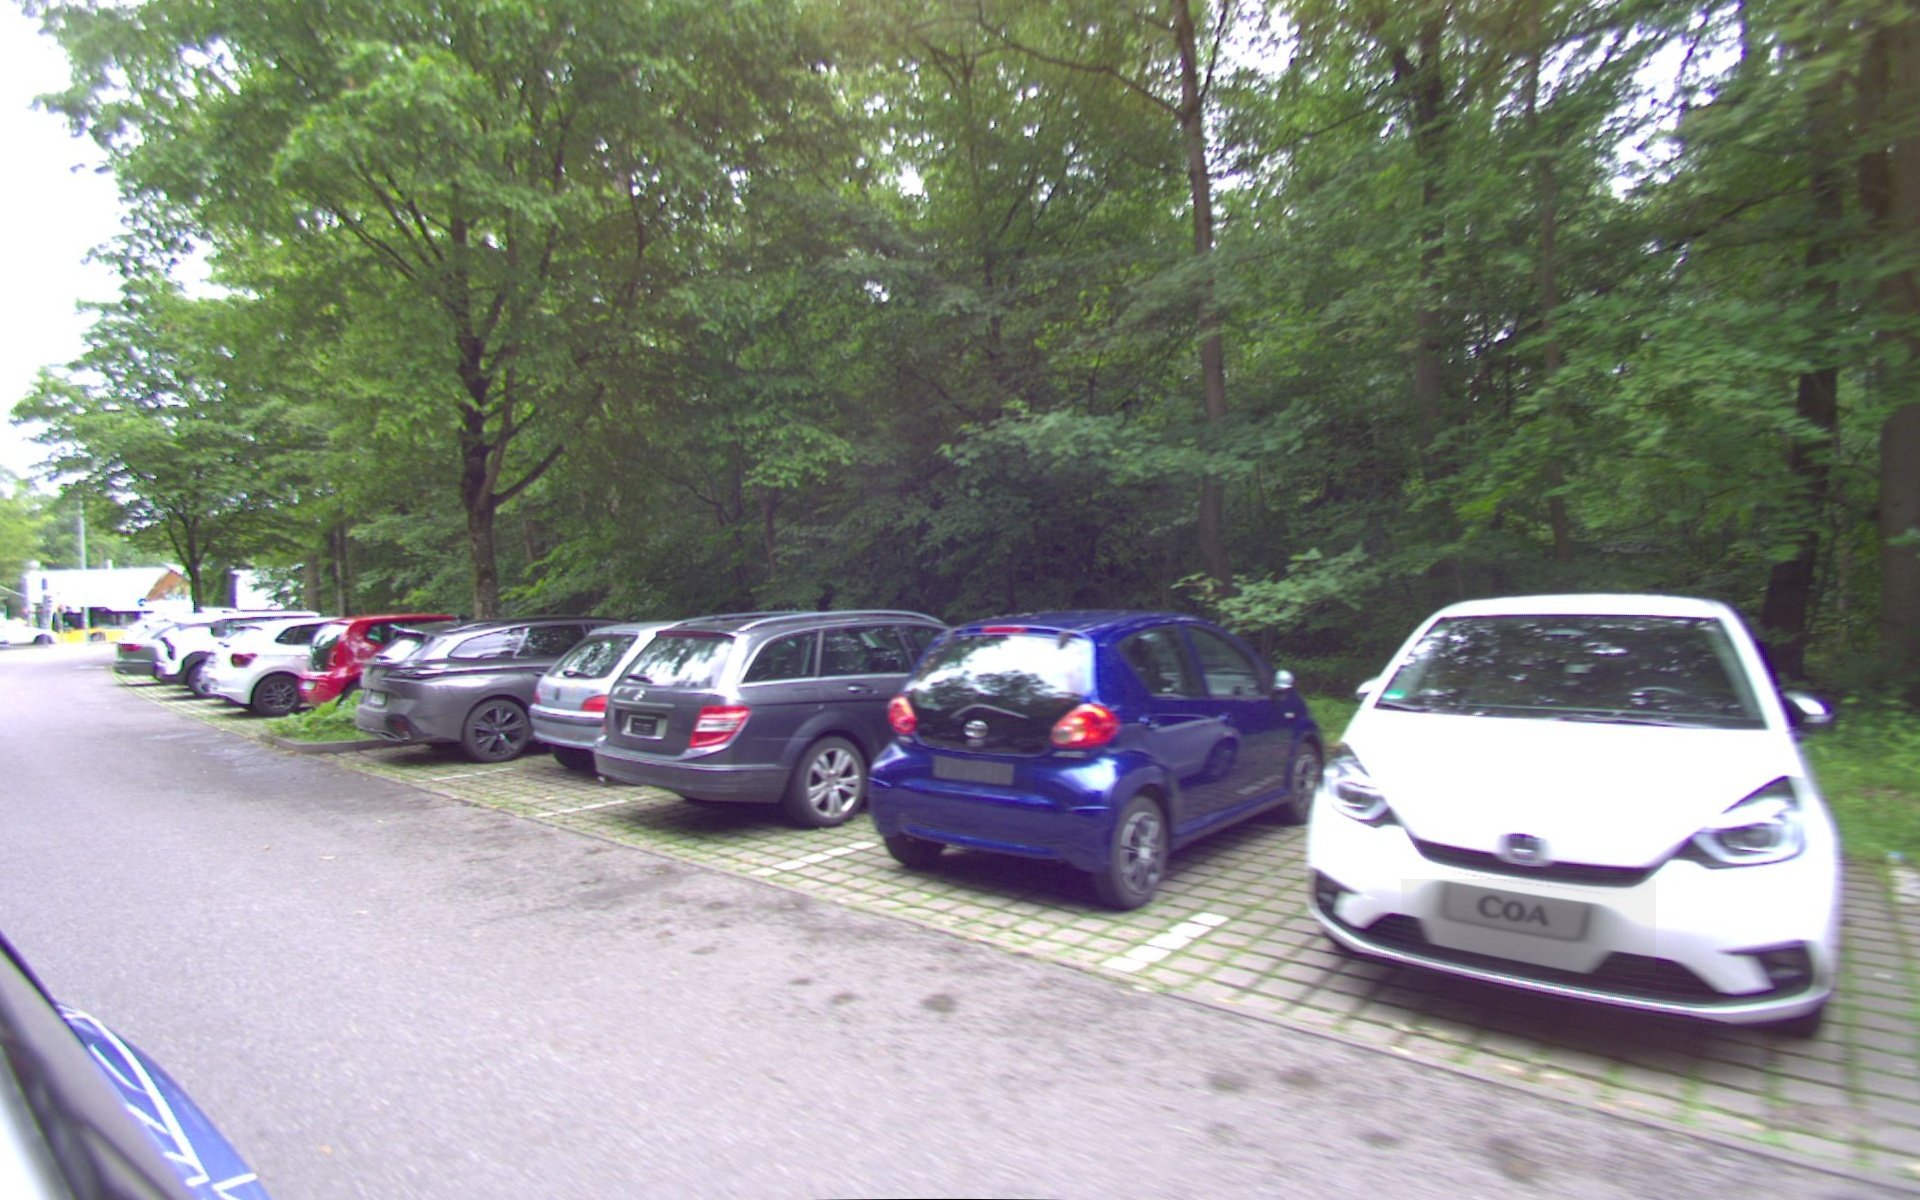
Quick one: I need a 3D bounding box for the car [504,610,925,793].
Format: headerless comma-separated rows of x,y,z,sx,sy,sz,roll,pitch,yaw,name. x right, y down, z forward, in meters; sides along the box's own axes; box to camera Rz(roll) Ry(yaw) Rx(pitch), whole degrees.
-2.306,0.844,10.097,1.757,1.397,3.714,-1,0,44,car

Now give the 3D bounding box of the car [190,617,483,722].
-9.930,1.023,16.272,1.873,1.430,3.684,-2,-1,45,car

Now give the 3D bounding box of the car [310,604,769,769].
-4.571,0.806,11.482,2.036,1.435,4.356,-1,0,43,car

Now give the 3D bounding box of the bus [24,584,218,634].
-59.375,0.629,72.127,2.796,3.183,10.428,-4,-2,25,bus

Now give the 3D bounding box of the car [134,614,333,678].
-19.619,1.191,27.439,4.183,1.545,1.764,0,-1,-44,car

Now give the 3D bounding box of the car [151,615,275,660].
-27.131,1.353,36.857,3.559,1.485,1.678,-1,-1,-36,car

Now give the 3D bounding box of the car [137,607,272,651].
-36.300,1.366,48.826,5.016,1.930,1.984,-1,-1,-31,car

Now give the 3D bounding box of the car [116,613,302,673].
-21.641,1.184,29.244,4.180,1.541,2.010,-1,0,-40,car

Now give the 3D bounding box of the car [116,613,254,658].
-30.936,1.377,40.576,4.297,1.610,2.036,-1,0,-36,car

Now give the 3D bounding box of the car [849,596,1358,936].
1.055,0.733,6.189,1.679,1.455,3.187,-1,0,39,car

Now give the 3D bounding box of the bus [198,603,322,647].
-55.427,1.897,80.338,2.796,3.183,7.691,-4,-2,25,bus

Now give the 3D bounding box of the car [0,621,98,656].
-56.013,2.328,61.700,1.995,1.790,4.870,-5,-1,35,car

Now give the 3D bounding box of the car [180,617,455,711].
-11.342,1.048,18.035,1.896,1.432,3.763,-2,-1,41,car

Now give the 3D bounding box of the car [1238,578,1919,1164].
3.069,0.687,4.844,1.889,1.497,4.325,-1,0,37,car

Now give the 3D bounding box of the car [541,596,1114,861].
-0.831,0.756,8.135,2.058,1.497,4.219,-1,0,43,car

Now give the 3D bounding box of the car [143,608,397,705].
-13.287,1.016,19.638,3.908,1.640,2.003,0,-1,-37,car

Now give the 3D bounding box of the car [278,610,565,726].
-7.889,0.909,14.996,1.684,1.492,3.426,-1,-1,44,car

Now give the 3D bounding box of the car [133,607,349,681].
-18.035,1.049,25.499,1.971,1.660,4.185,-2,-1,45,car

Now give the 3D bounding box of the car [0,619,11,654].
-48.532,1.827,48.175,4.456,1.706,2.172,-1,0,-27,car

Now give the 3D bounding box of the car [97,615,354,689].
-16.891,1.124,23.415,4.585,1.489,2.097,0,-1,-44,car
